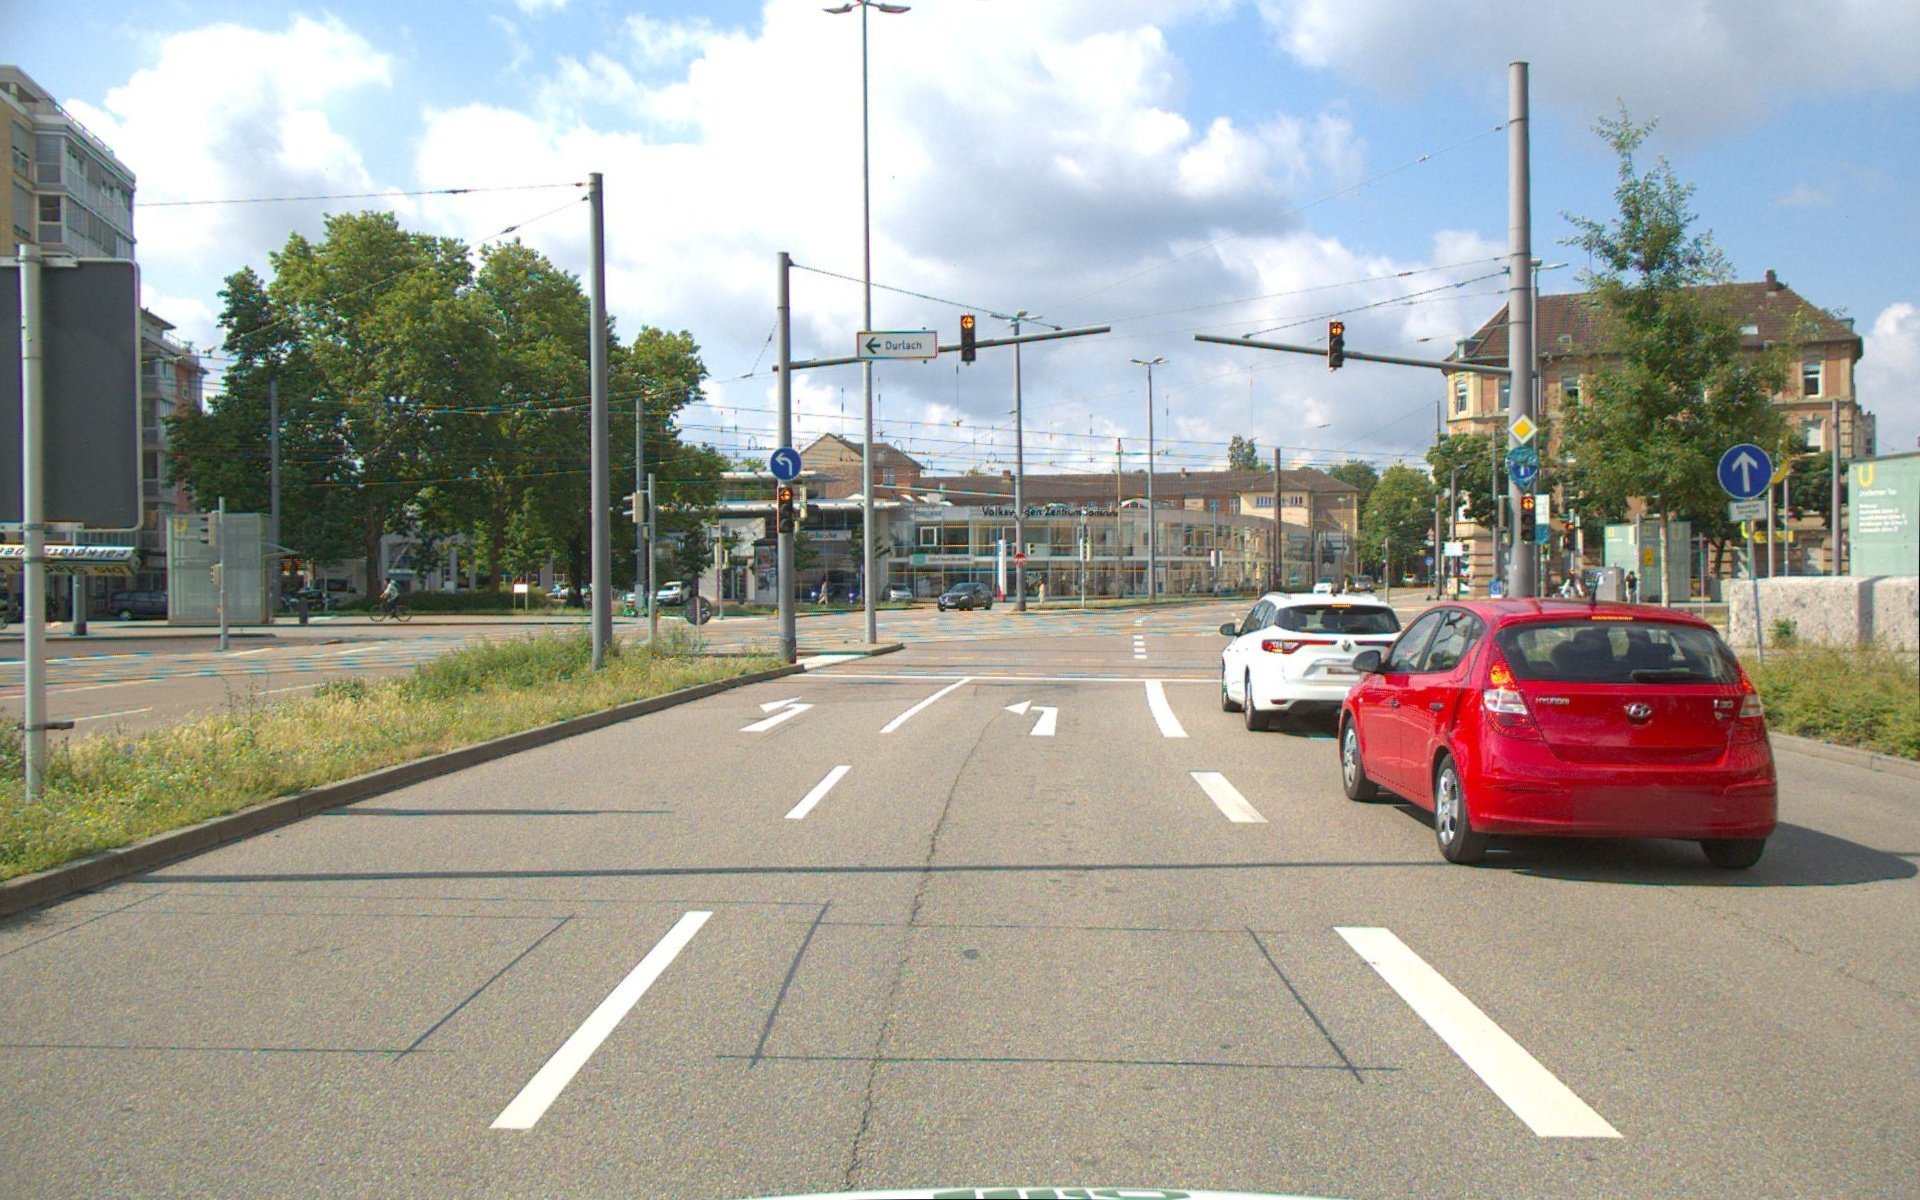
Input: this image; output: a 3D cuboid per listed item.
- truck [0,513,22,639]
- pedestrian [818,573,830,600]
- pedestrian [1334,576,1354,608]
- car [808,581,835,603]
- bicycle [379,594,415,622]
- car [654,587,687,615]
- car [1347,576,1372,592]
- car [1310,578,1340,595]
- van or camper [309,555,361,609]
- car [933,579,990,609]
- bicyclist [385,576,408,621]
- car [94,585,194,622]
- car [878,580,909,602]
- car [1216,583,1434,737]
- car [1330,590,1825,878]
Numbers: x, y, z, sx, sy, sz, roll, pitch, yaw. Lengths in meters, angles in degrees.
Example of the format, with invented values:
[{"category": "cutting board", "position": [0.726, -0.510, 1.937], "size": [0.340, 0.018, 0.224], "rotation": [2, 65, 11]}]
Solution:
[{"category": "truck", "position": [-33.896, -0.708, 51.519], "size": [7.790, 3.923, 2.190], "rotation": [-1, 0, -18]}, {"category": "pedestrian", "position": [-9.989, -0.977, 121.370], "size": [0.864, 1.982, 0.888], "rotation": [-1, 0, -3]}, {"category": "pedestrian", "position": [18.902, -0.388, 81.420], "size": [0.668, 1.562, 0.665], "rotation": [-1, 0, -37]}, {"category": "car", "position": [-10.380, -0.592, 124.059], "size": [1.954, 1.579, 4.075], "rotation": [0, 0, -4]}, {"category": "bicycle", "position": [-24.054, 0.337, 70.686], "size": [1.442, 1.136, 0.584], "rotation": [-1, 0, -19]}, {"category": "car", "position": [-22.053, 0.041, 126.022], "size": [1.954, 2.049, 3.998], "rotation": [-1, 0, -3]}, {"category": "car", "position": [40.913, -1.603, 169.384], "size": [1.953, 1.601, 4.000], "rotation": [0, 1, 22]}, {"category": "car", "position": [32.580, -1.224, 147.512], "size": [1.953, 1.467, 4.000], "rotation": [0, 1, 22]}, {"category": "van or camper", "position": [-35.315, -1.025, 93.556], "size": [2.543, 2.959, 6.065], "rotation": [-1, 1, -19]}, {"category": "car", "position": [0.120, -0.335, 87.346], "size": [1.951, 1.556, 4.003], "rotation": [0, 1, 17]}, {"category": "bicyclist", "position": [-24.062, -0.057, 70.662], "size": [0.872, 1.903, 0.760], "rotation": [-1, 0, -18]}, {"category": "car", "position": [-38.490, 0.158, 78.075], "size": [3.924, 1.691, 1.990], "rotation": [-1, 0, -18]}, {"category": "car", "position": [-5.044, -0.664, 125.195], "size": [1.956, 1.624, 3.993], "rotation": [0, 0, -8]}, {"category": "car", "position": [3.981, 0.583, 18.695], "size": [1.809, 1.498, 4.338], "rotation": [-1, 1, 5]}, {"category": "car", "position": [3.629, 0.688, 10.545], "size": [1.778, 1.464, 4.068], "rotation": [0, 0, 2]}]
